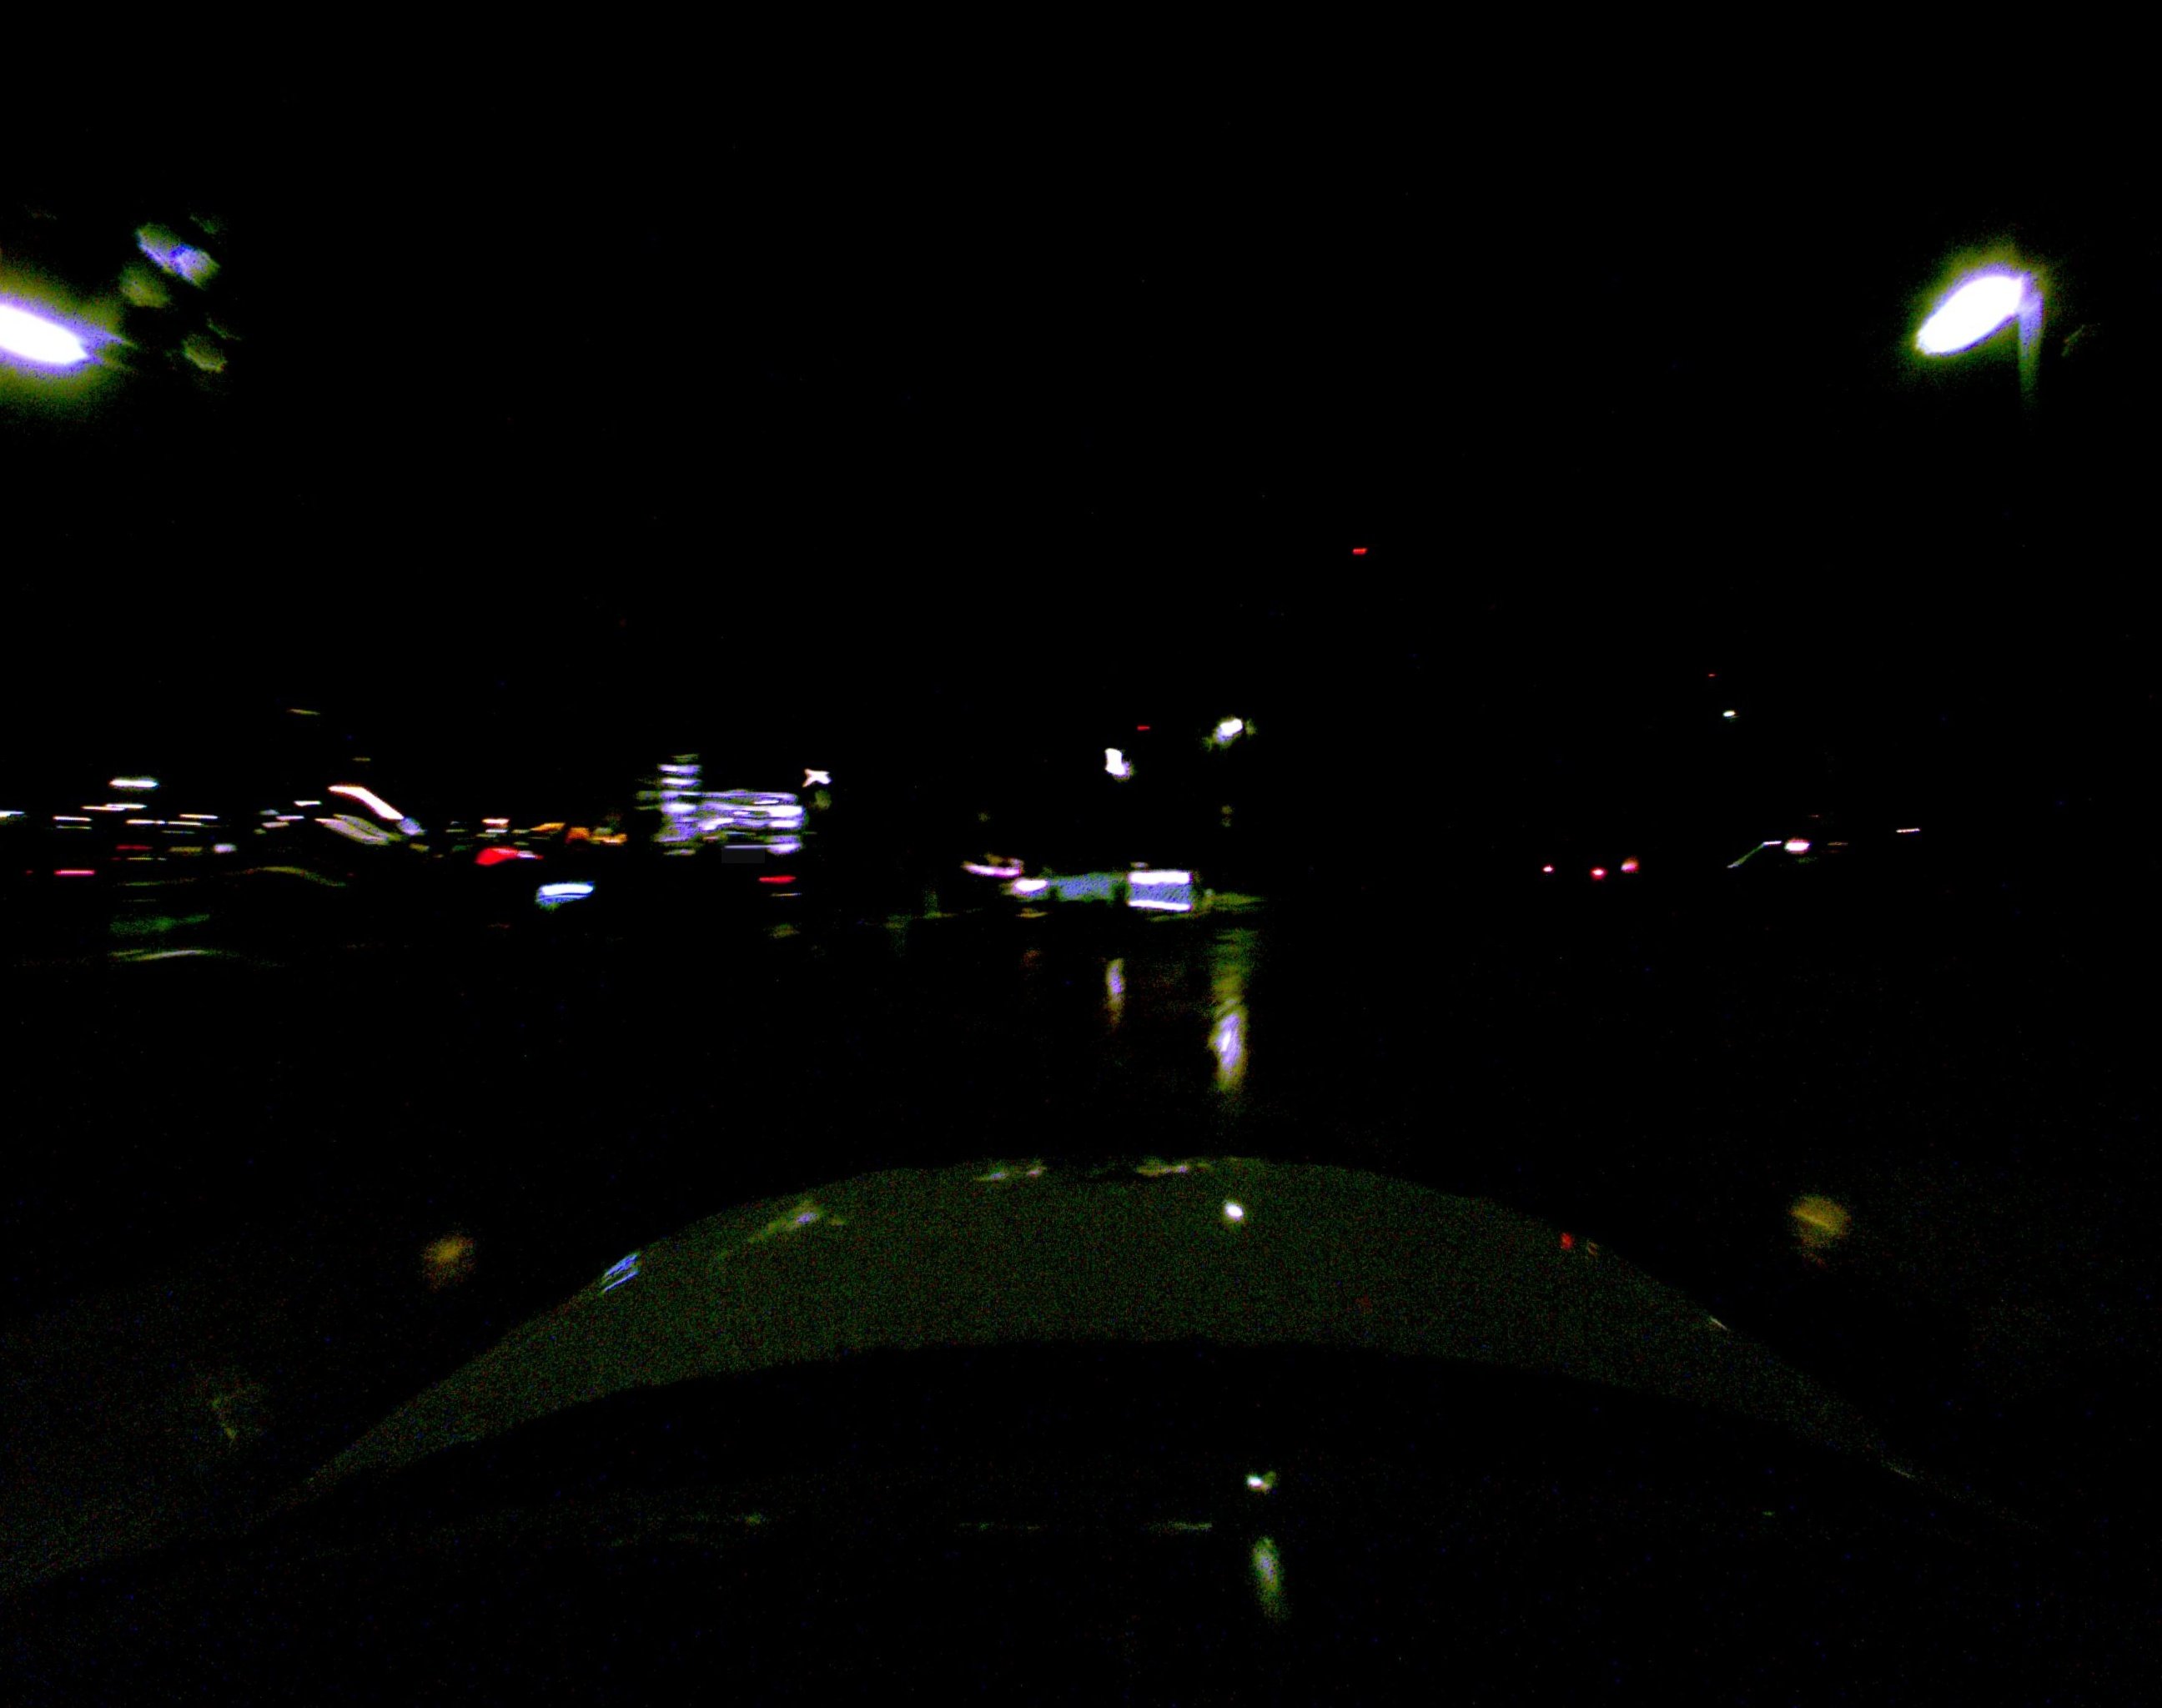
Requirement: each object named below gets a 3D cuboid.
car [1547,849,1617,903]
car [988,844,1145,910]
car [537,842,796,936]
[{"bbox_3d":[20.579,0.812,33.381,1.974,2.013,4.586,1,1,37],"label":"car"},{"bbox_3d":[-0.358,0.625,24.111,4.415,1.758,1.857,0,1,-38],"label":"car"},{"bbox_3d":[-8.667,0.641,17.189,4.639,1.736,1.979,0,1,-35],"label":"car"}]
